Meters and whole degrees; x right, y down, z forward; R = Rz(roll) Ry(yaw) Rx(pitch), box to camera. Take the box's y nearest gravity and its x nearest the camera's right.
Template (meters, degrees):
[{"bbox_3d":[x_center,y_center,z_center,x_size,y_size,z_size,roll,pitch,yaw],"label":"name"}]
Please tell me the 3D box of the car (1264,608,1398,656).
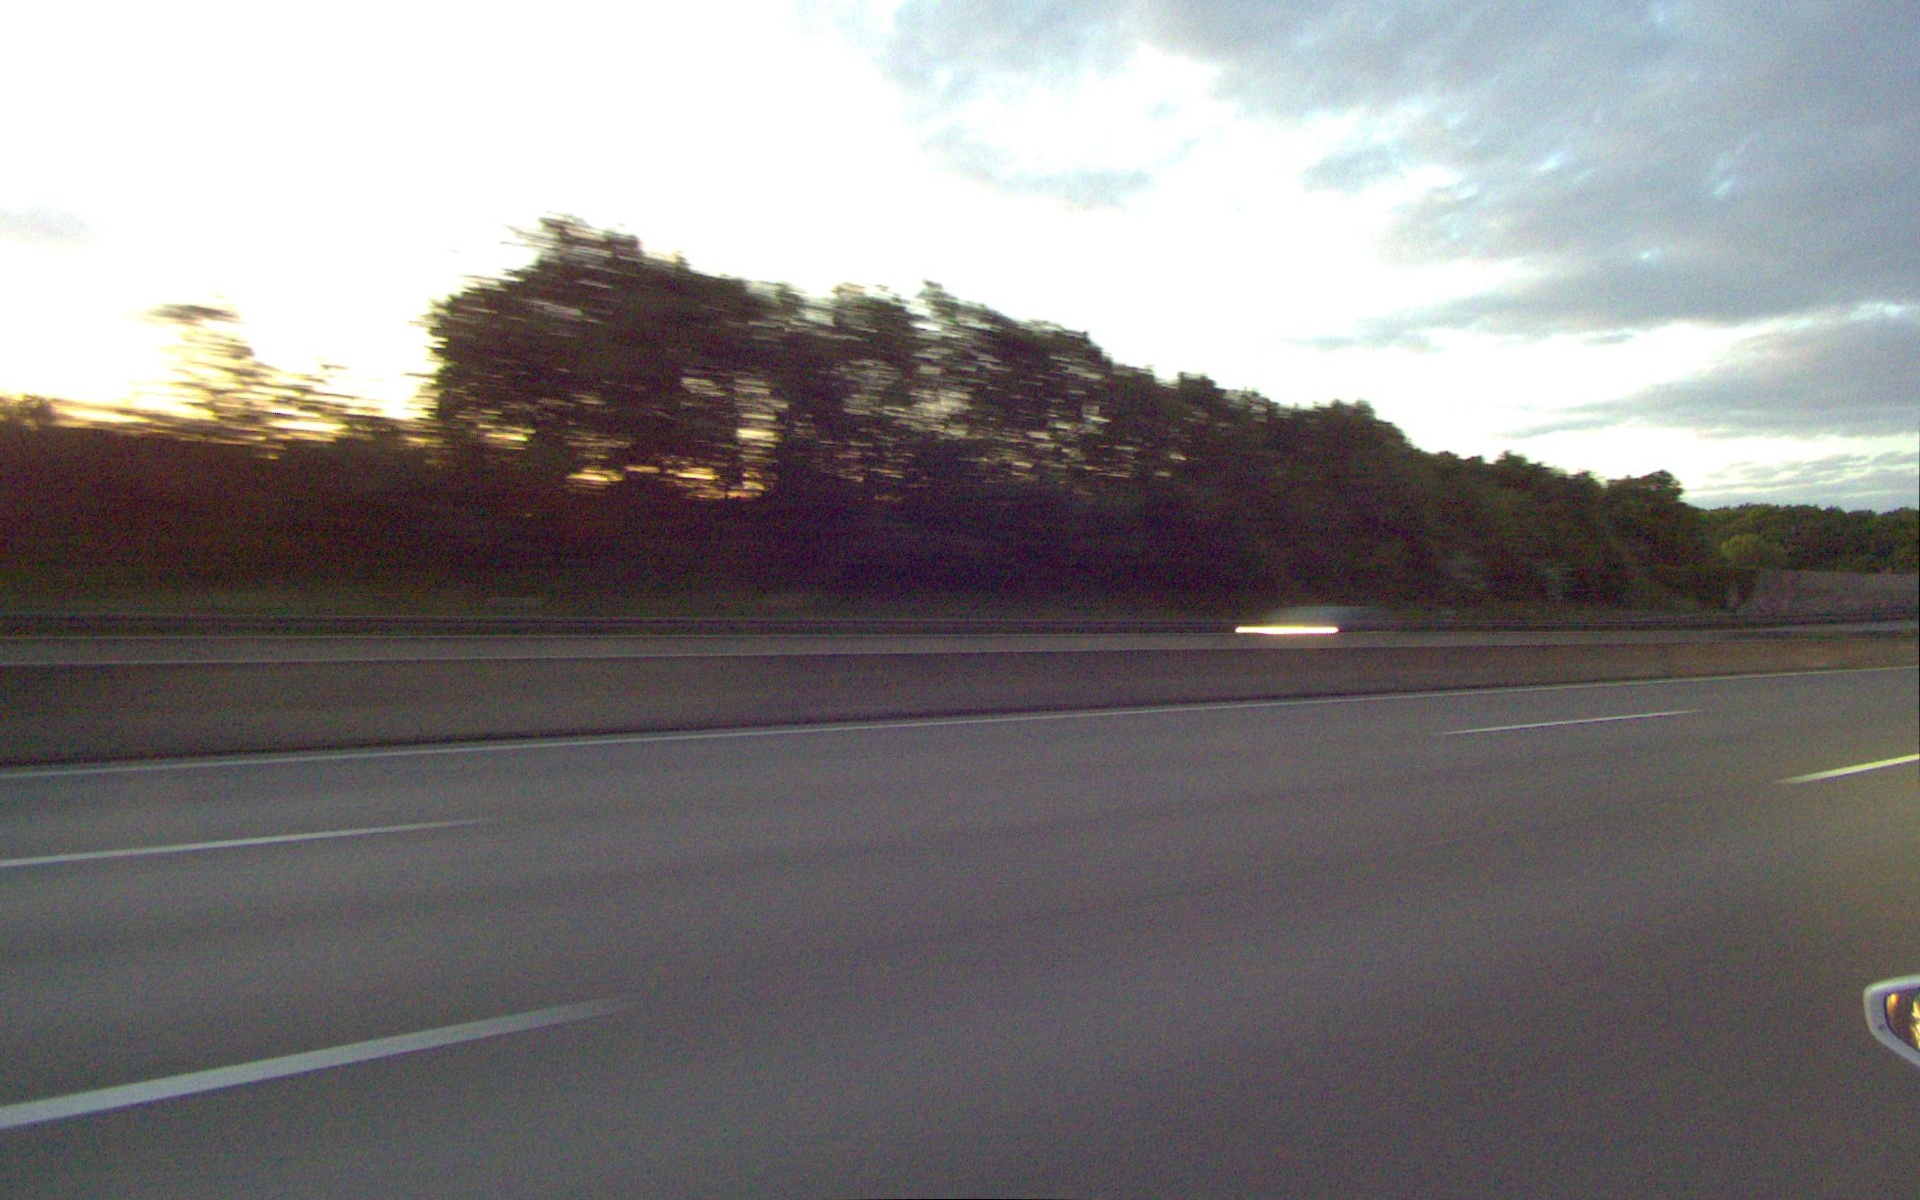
[{"bbox_3d":[12.192,1.055,32.956,4.104,1.438,1.983,2,0,-31],"label":"car"}]
